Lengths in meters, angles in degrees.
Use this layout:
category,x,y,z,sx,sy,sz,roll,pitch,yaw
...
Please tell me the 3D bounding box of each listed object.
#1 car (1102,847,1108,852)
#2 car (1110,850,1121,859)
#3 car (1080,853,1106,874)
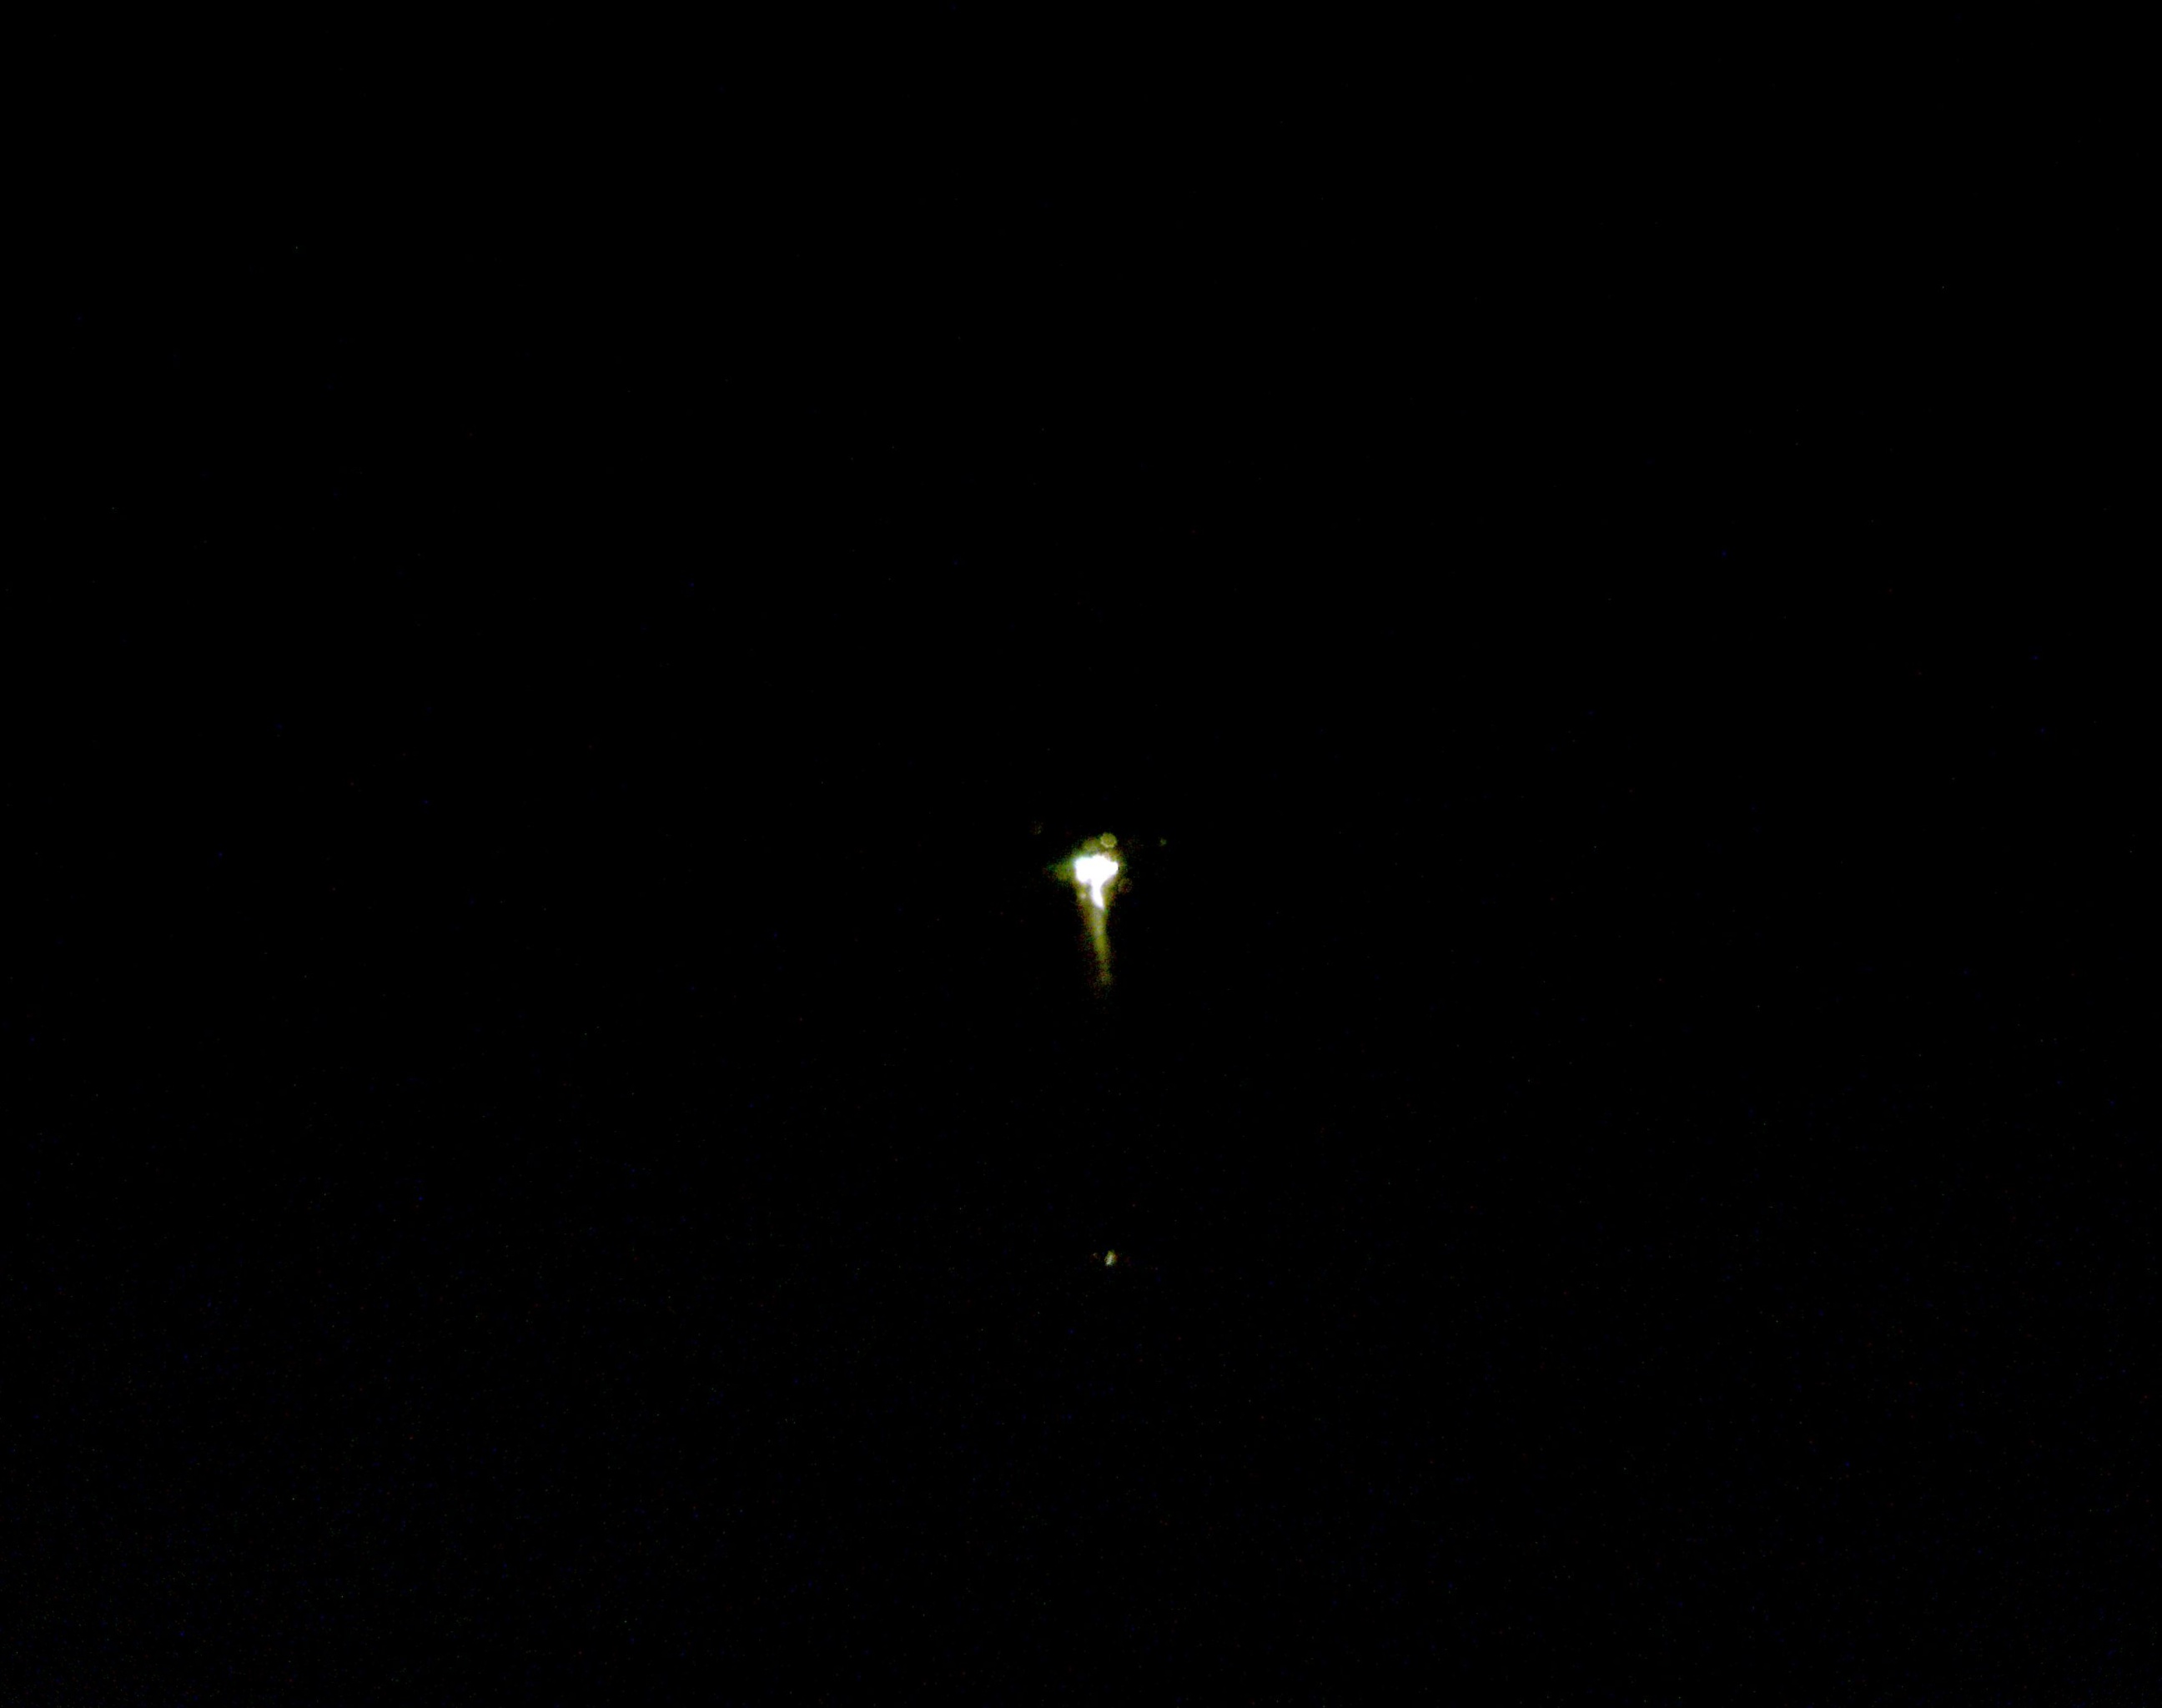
category,x,y,z,sx,sy,sz,roll,pitch,yaw
car,7.331,-1.484,236.533,1.813,1.612,4.000,-2,0,1
car,6.922,0.100,153.337,1.998,1.567,4.661,-2,0,0
car,1.000,0.770,64.171,1.998,1.575,4.000,-3,0,1
